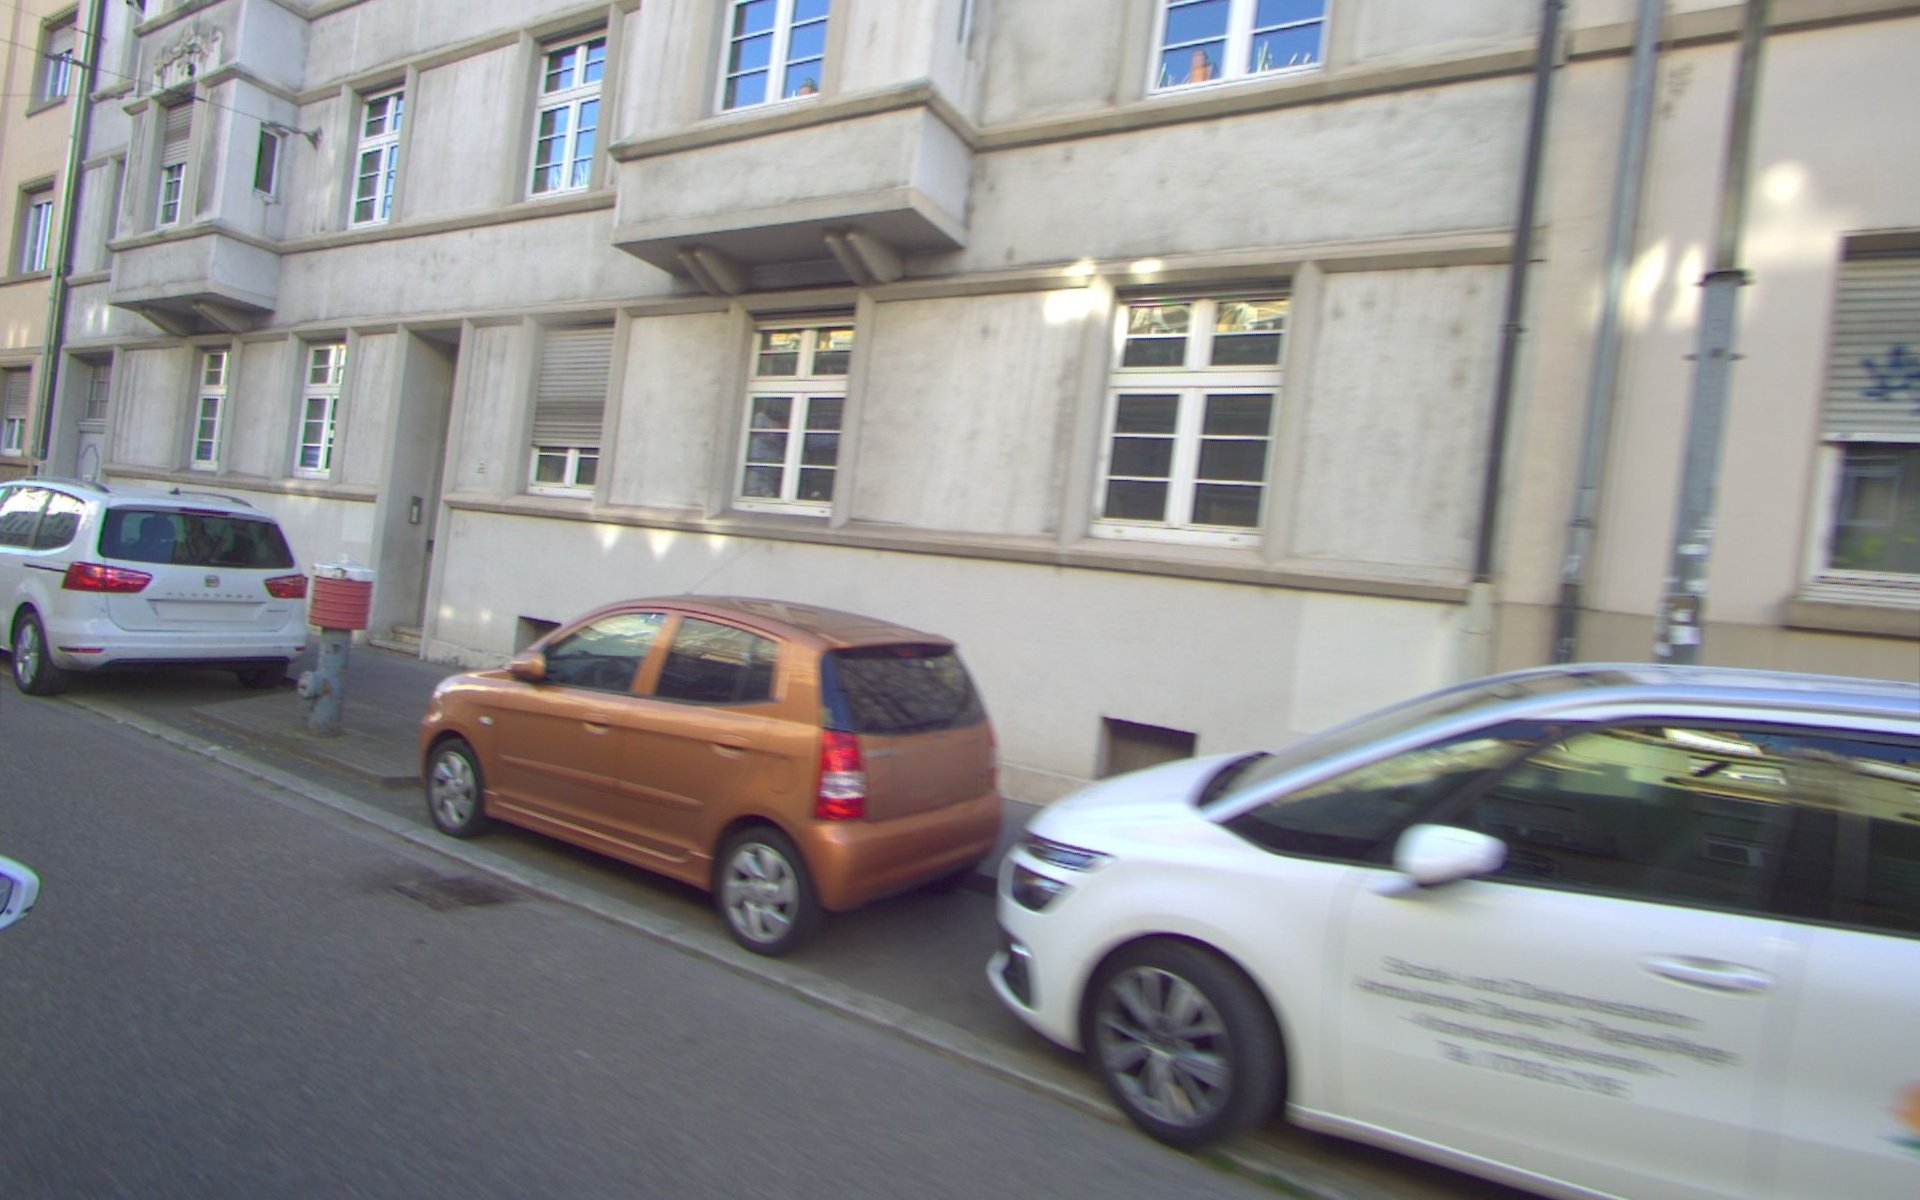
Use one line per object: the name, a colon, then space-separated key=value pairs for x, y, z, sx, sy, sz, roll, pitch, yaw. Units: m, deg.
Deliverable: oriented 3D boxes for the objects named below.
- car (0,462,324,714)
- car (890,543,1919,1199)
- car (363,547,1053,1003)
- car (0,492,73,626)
car: x=-8.186 y=-0.227 z=9.470 sx=4.608 sy=1.850 sz=1.733 roll=7 pitch=0 yaw=32
car: x=2.222 y=0.982 z=3.257 sx=4.522 sy=1.773 sz=1.659 roll=7 pitch=0 yaw=27
car: x=-1.501 y=0.720 z=5.659 sx=3.540 sy=1.579 sz=1.617 roll=7 pitch=0 yaw=31
car: x=-12.917 y=-0.710 z=12.417 sx=4.151 sy=1.505 sz=1.725 roll=7 pitch=0 yaw=31
